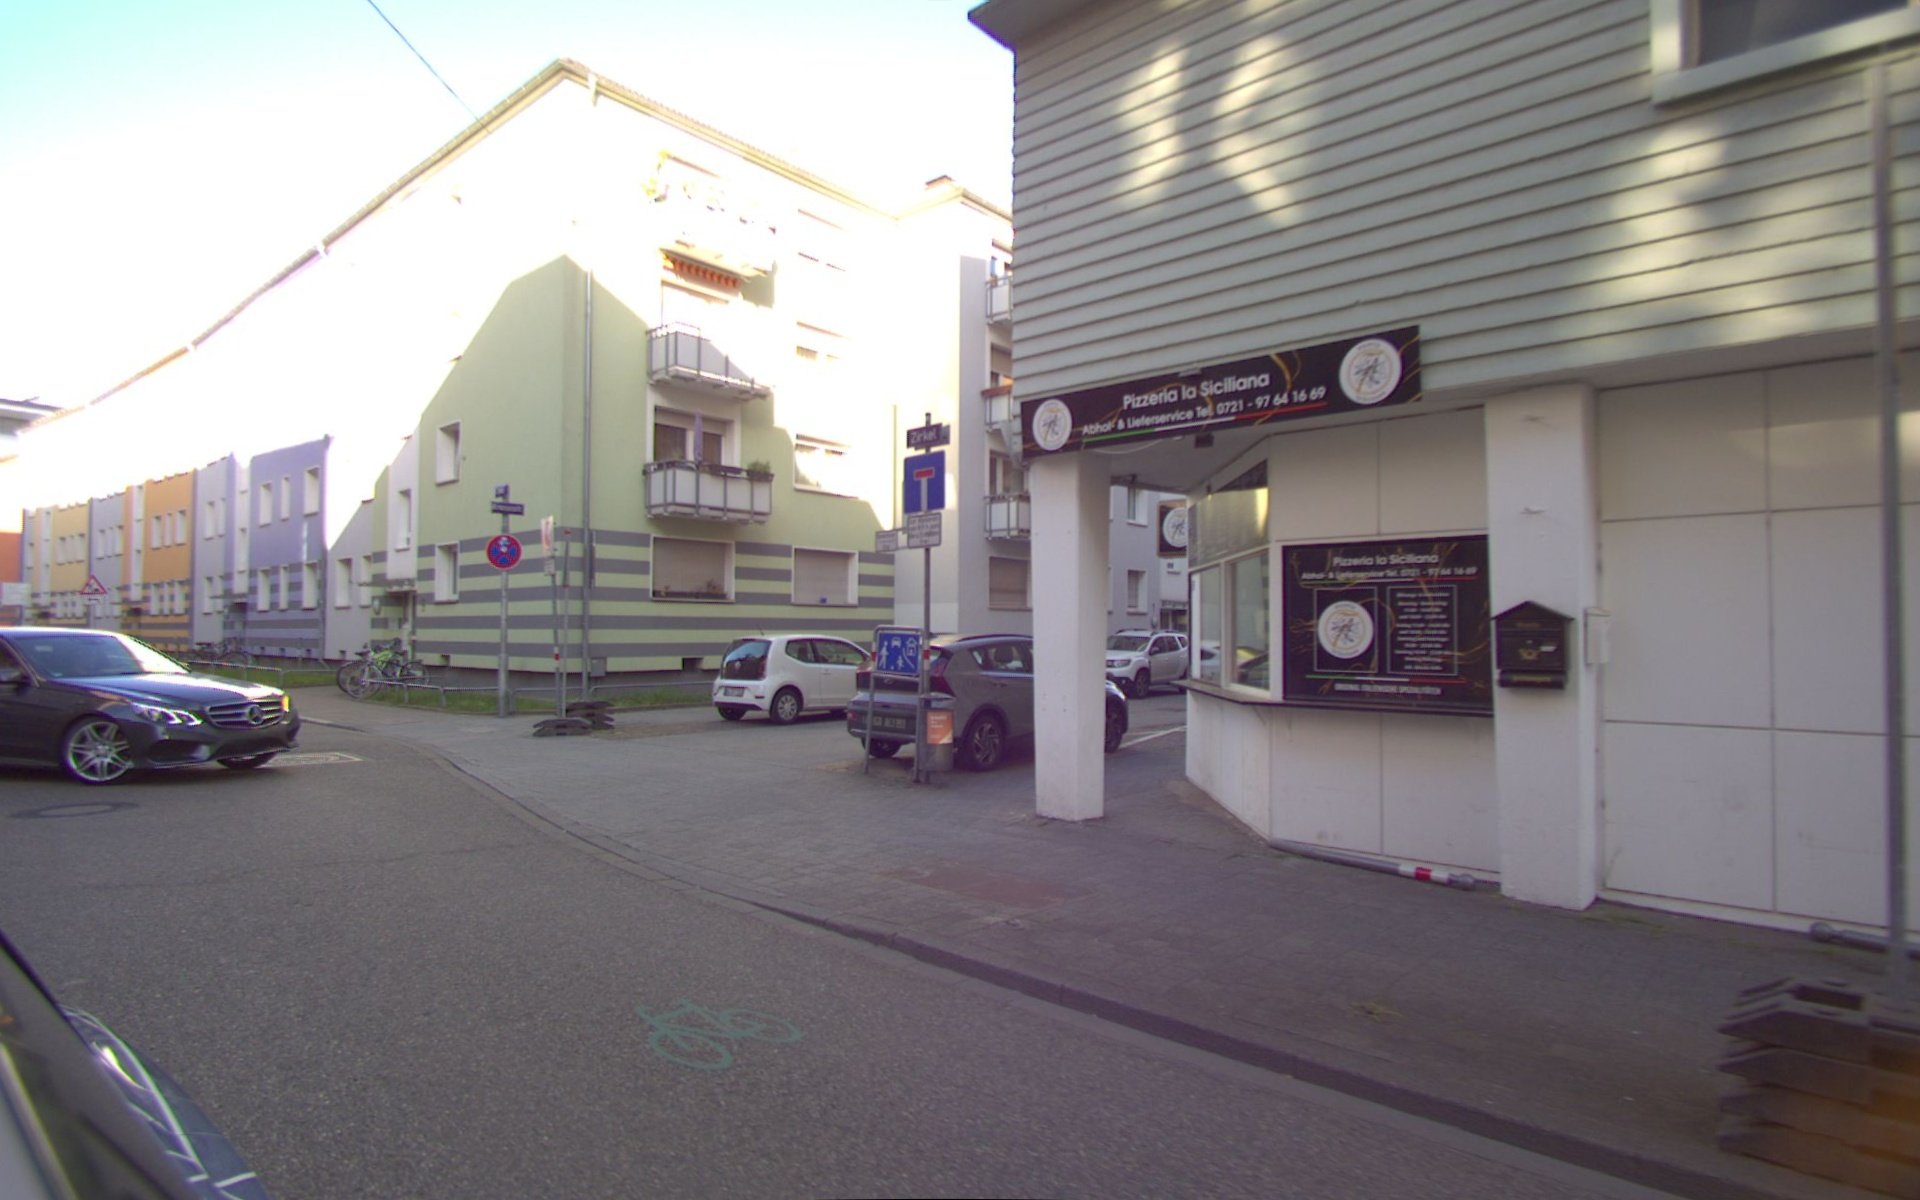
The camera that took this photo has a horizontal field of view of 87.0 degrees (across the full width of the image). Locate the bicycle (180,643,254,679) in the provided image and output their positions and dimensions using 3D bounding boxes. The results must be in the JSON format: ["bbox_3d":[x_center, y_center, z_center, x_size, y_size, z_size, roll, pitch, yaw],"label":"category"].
[{"bbox_3d":[-23.128,1.882,31.520,0.388,0.953,1.780,-2,1,41],"label":"bicycle"}]

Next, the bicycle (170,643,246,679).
[{"bbox_3d":[-22.849,1.847,30.785,0.388,0.953,1.780,-2,1,41],"label":"bicycle"}]

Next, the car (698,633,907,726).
[{"bbox_3d":[-2.669,1.306,17.646,1.724,1.448,3.300,-2,-3,40],"label":"car"}]

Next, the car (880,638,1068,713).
[{"bbox_3d":[0.405,1.538,21.734,1.758,1.408,4.271,-1,-2,40],"label":"car"}]

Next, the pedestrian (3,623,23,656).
[{"bbox_3d":[-48.317,1.996,51.629,0.447,1.663,0.605,-1,-3,35],"label":"pedestrian"}]

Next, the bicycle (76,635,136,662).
[{"bbox_3d":[-35.341,1.994,41.902,0.653,0.990,1.786,-2,2,38],"label":"bicycle"}]

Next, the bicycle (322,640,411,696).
[{"bbox_3d":[-13.530,1.539,23.123,0.387,1.109,1.719,-2,1,34],"label":"bicycle"}]

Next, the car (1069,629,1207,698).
[{"bbox_3d":[4.625,1.589,25.893,1.757,1.623,4.094,-3,-4,38],"label":"car"}]

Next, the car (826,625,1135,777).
[{"bbox_3d":[0.394,1.089,12.267,1.691,1.531,3.892,-2,-3,40],"label":"car"}]

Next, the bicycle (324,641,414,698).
[{"bbox_3d":[-13.279,1.541,22.795,0.387,1.109,1.719,-2,1,34],"label":"bicycle"}]

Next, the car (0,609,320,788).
[{"bbox_3d":[-9.000,0.922,9.946,4.621,1.490,1.780,-2,0,12],"label":"car"}]

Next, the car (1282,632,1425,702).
[{"bbox_3d":[9.267,1.519,23.690,1.787,1.493,3.858,-4,-4,43],"label":"car"}]

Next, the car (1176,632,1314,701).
[{"bbox_3d":[7.210,1.588,25.368,1.785,1.580,4.114,-2,-3,40],"label":"car"}]

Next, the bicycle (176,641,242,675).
[{"bbox_3d":[-24.273,1.873,32.735,0.388,0.953,1.636,-2,1,41],"label":"bicycle"}]

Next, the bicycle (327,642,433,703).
[{"bbox_3d":[-12.380,1.518,21.642,0.749,1.109,1.797,-2,1,41],"label":"bicycle"}]

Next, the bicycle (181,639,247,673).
[{"bbox_3d":[-23.945,1.780,32.496,0.388,0.953,1.636,-2,1,41],"label":"bicycle"}]

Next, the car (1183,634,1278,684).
[{"bbox_3d":[8.183,1.753,30.453,1.485,1.400,3.360,-4,-4,39],"label":"car"}]
